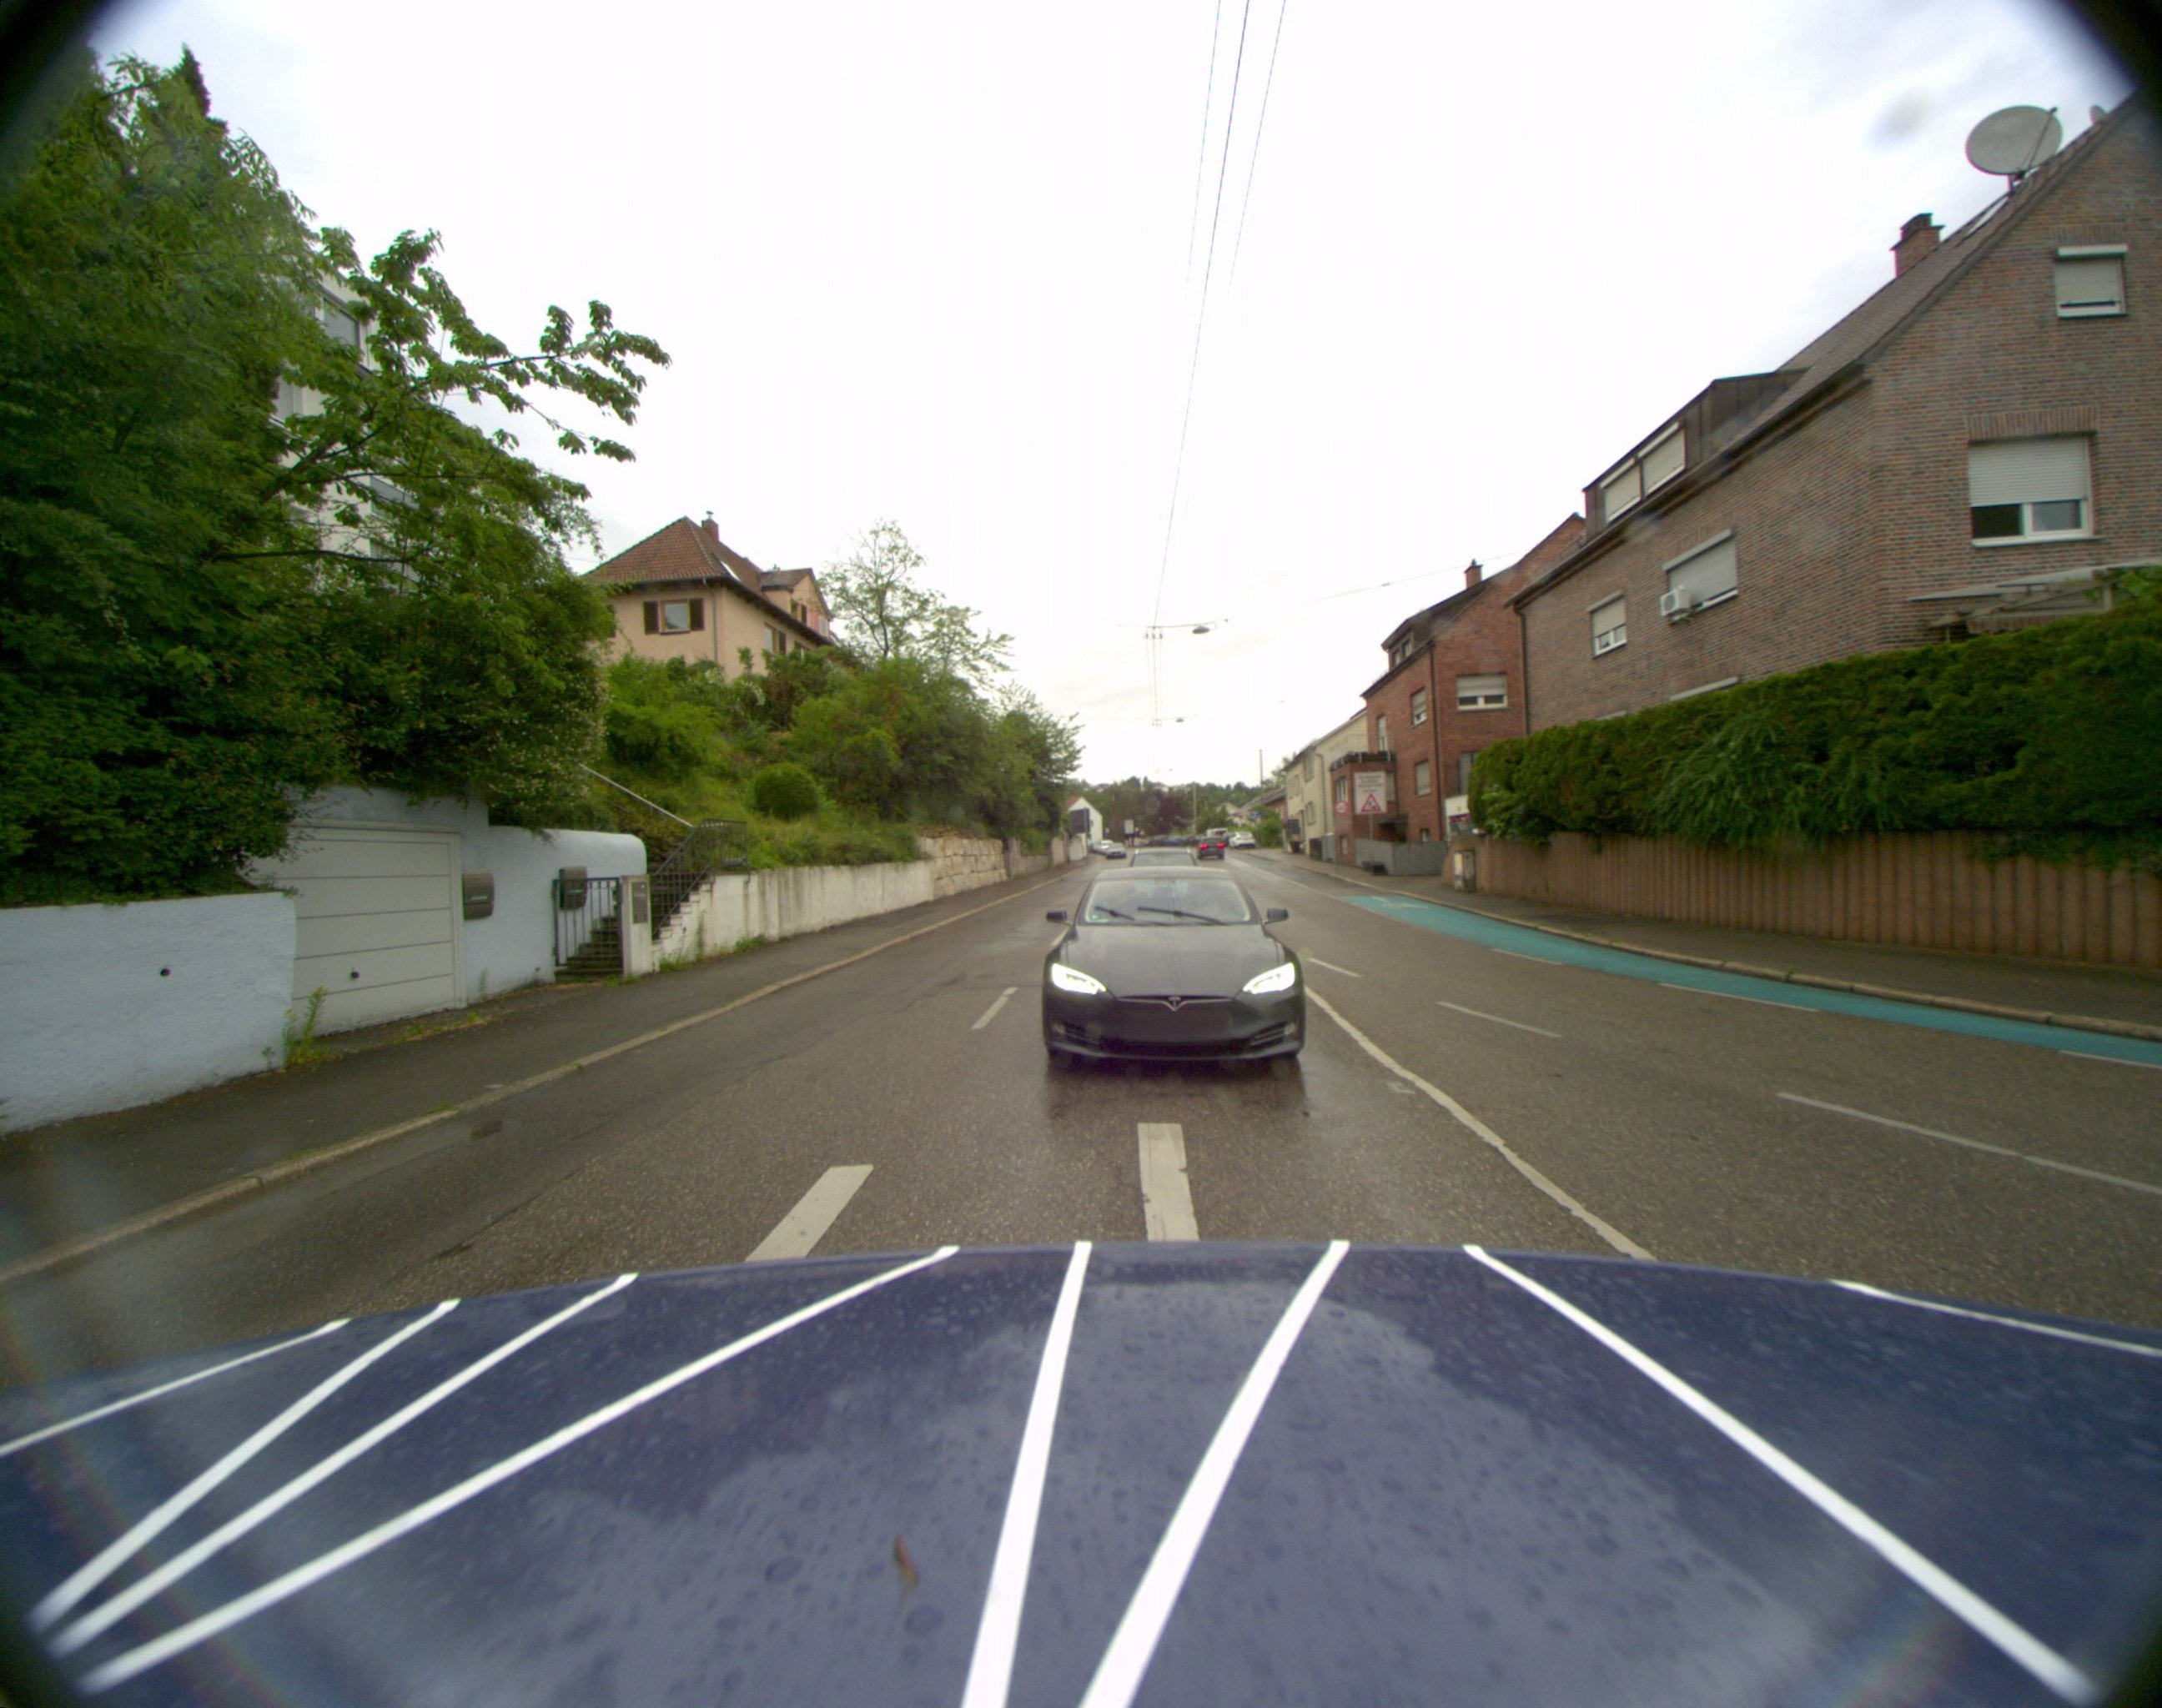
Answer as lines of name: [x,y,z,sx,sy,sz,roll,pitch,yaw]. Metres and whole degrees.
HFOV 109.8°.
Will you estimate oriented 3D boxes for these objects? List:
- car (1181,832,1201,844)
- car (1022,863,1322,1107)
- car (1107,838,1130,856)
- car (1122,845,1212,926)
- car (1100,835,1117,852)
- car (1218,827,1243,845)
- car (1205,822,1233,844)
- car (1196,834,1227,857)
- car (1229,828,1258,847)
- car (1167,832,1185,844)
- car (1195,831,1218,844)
car: [14.052,-2.070,97.506,1.654,1.388,3.859,-4,1,-4]
car: [0.725,0.876,6.860,1.870,1.407,4.000,-2,1,4]
car: [3.641,-0.617,73.104,2.002,1.596,4.360,-2,-1,4]
car: [1.909,0.626,17.511,1.789,1.580,3.784,-2,1,4]
car: [3.188,-1.243,89.058,1.820,1.855,4.038,-2,2,-1]
car: [15.724,-1.903,80.128,1.814,1.793,4.263,-4,1,2]
car: [15.614,-2.332,86.158,2.257,2.273,4.546,-4,1,0]
car: [9.540,-0.656,55.783,1.853,1.671,4.172,0,2,4]
car: [15.355,-1.553,71.980,1.946,1.557,4.263,-4,1,2]
car: [12.779,-2.148,102.634,1.624,1.482,3.901,-4,1,-4]
car: [15.036,-1.968,91.473,1.654,1.482,4.009,-4,1,-6]
